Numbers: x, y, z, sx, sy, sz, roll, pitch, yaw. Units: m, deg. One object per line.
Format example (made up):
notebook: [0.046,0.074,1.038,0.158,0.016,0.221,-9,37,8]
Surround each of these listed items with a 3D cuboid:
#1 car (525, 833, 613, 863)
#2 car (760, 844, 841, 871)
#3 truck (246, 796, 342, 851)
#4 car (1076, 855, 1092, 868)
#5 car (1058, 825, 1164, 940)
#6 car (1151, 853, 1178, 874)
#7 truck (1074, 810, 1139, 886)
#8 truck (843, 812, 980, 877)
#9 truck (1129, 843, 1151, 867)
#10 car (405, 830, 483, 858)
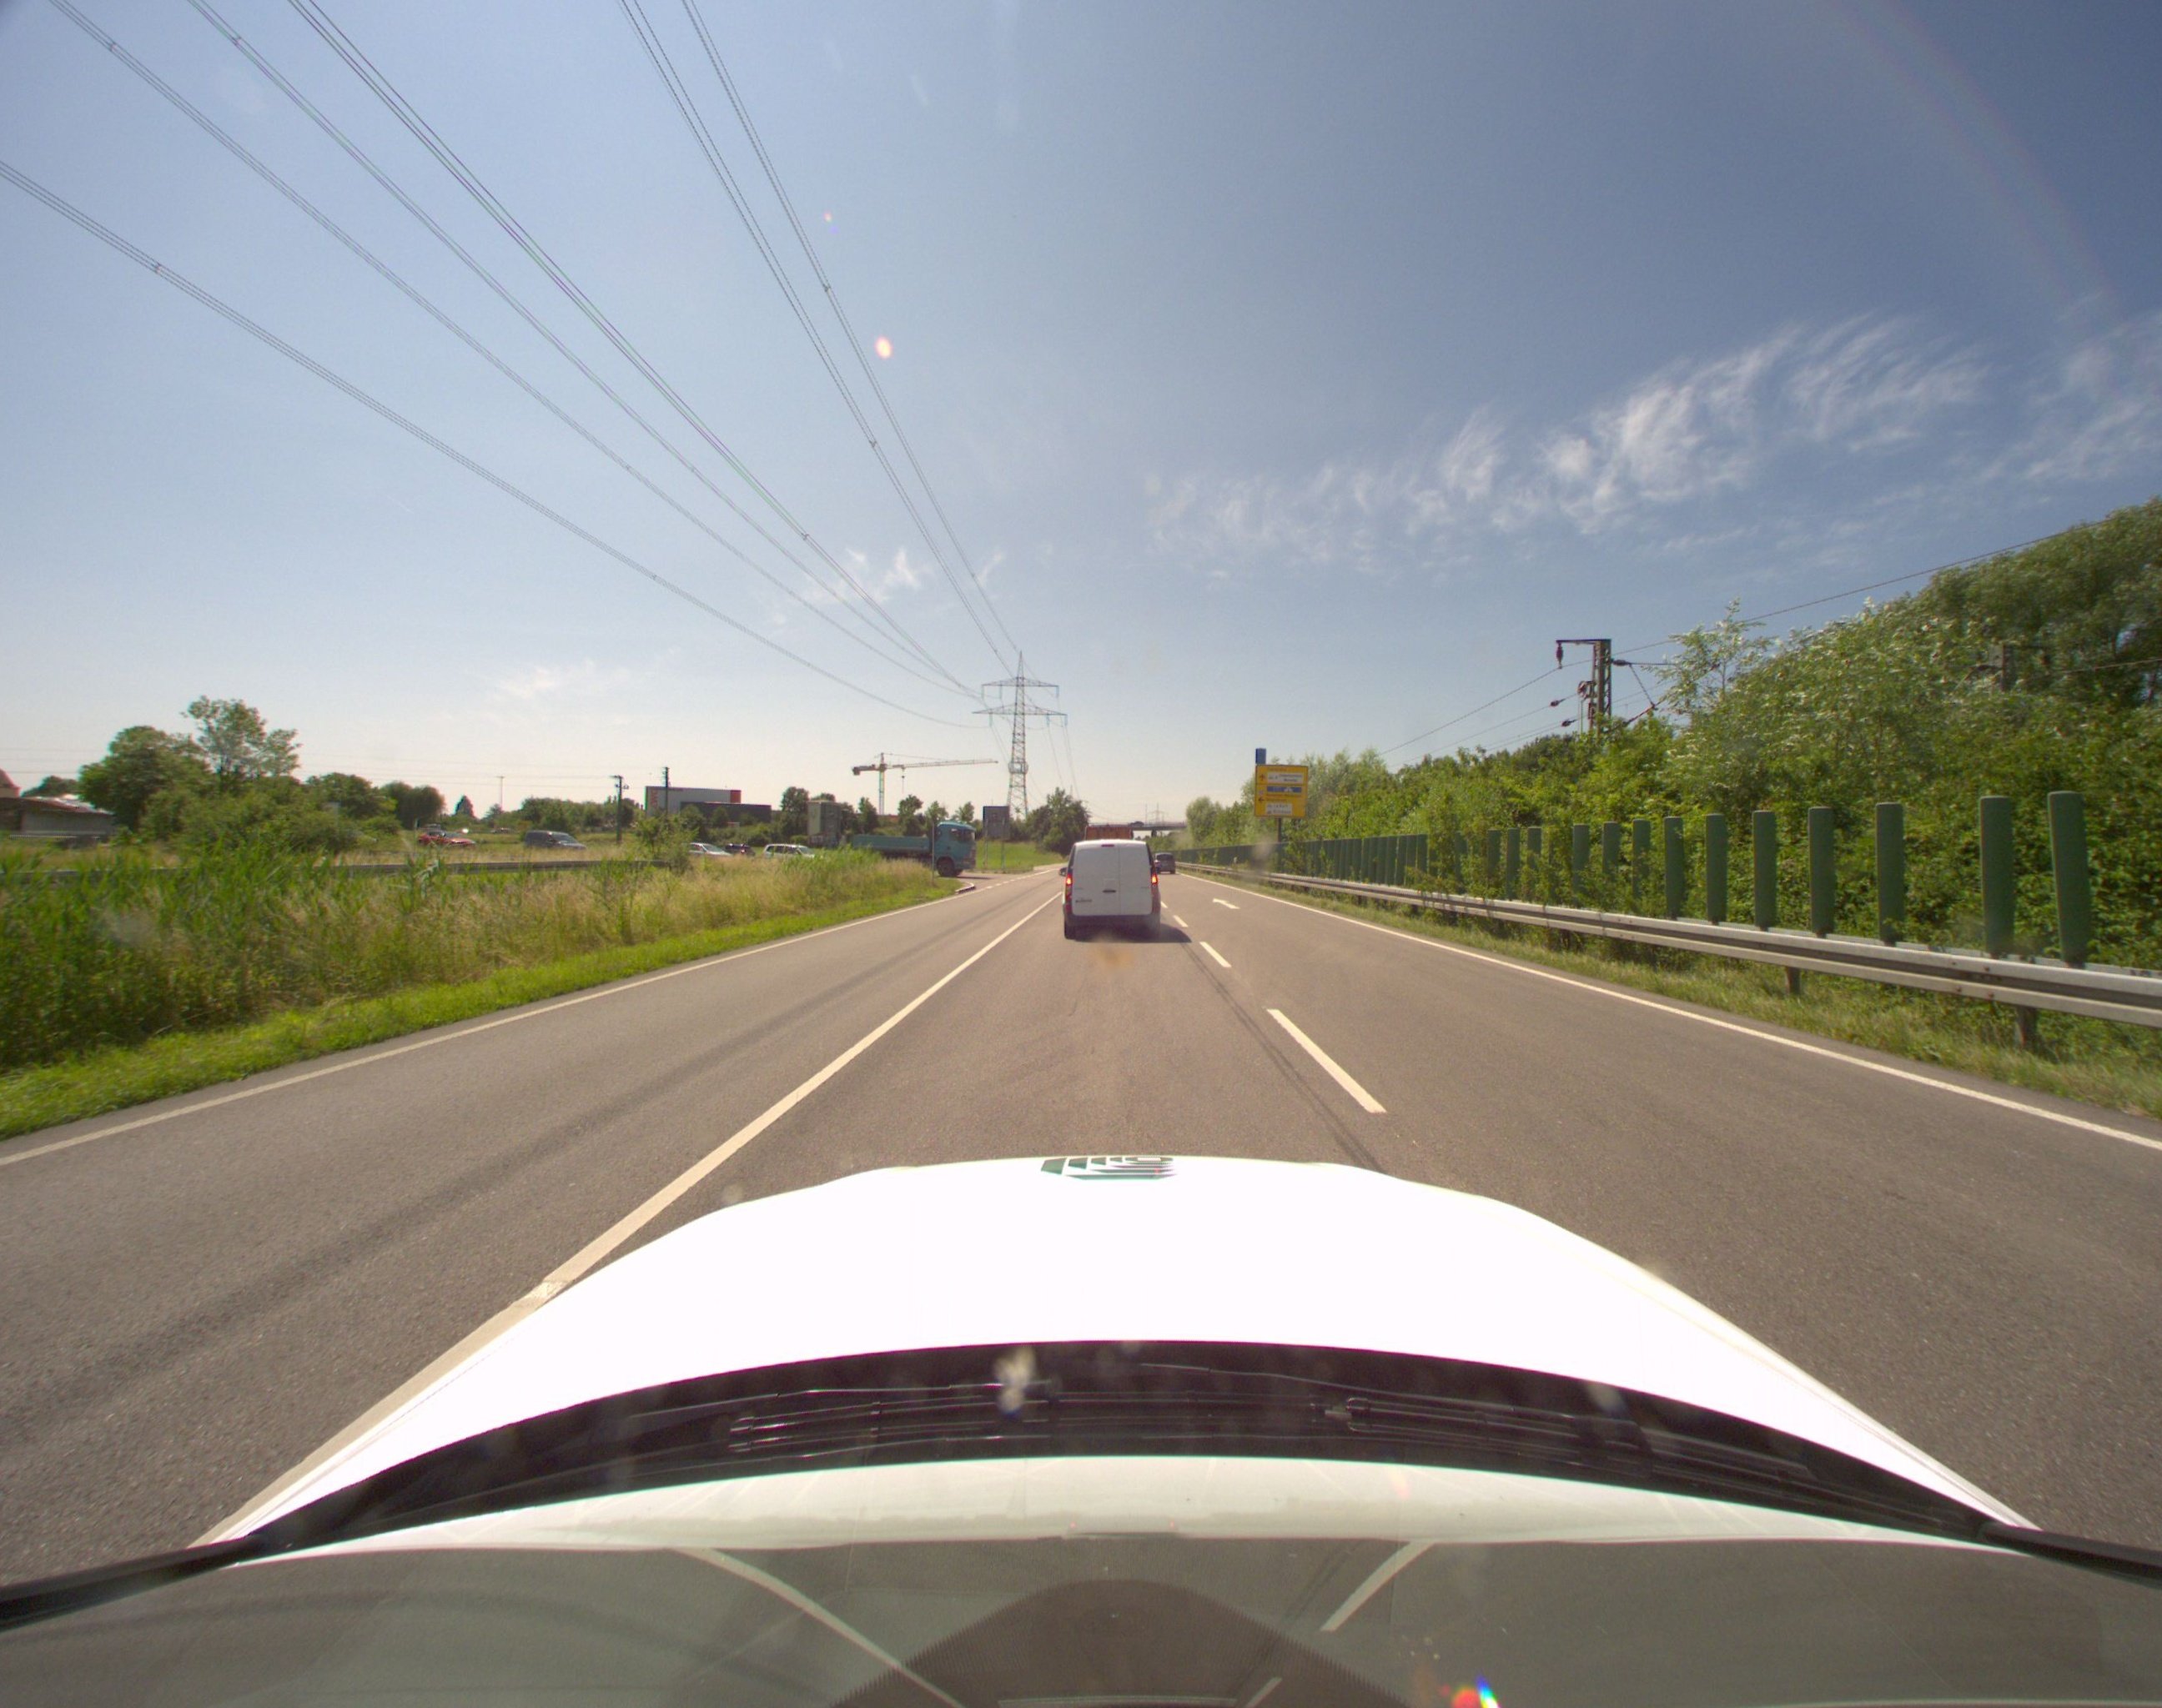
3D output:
car: [-34.514,-0.436,54.946,4.905,1.867,2.095,2,1,10]
car: [-17.844,0.206,51.785,4.506,1.612,1.976,1,0,16]
truck: [-72.495,-2.679,74.913,13.069,4.646,3.713,1,0,34]
car: [0.396,0.875,98.373,1.718,1.441,4.252,2,0,2]
car: [0.596,0.497,16.117,1.820,1.971,4.002,-1,0,2]
car: [6.306,0.704,61.808,1.841,1.574,4.003,-1,0,2]
truck: [1.250,-0.302,40.086,2.810,3.288,9.705,0,1,2]
truck: [-10.588,-0.609,51.203,7.868,3.734,2.501,2,0,4]
truck: [7.063,0.122,98.364,2.365,2.689,8.013,1,0,2]
car: [-45.320,-0.733,57.976,4.438,1.849,1.923,1,0,13]
